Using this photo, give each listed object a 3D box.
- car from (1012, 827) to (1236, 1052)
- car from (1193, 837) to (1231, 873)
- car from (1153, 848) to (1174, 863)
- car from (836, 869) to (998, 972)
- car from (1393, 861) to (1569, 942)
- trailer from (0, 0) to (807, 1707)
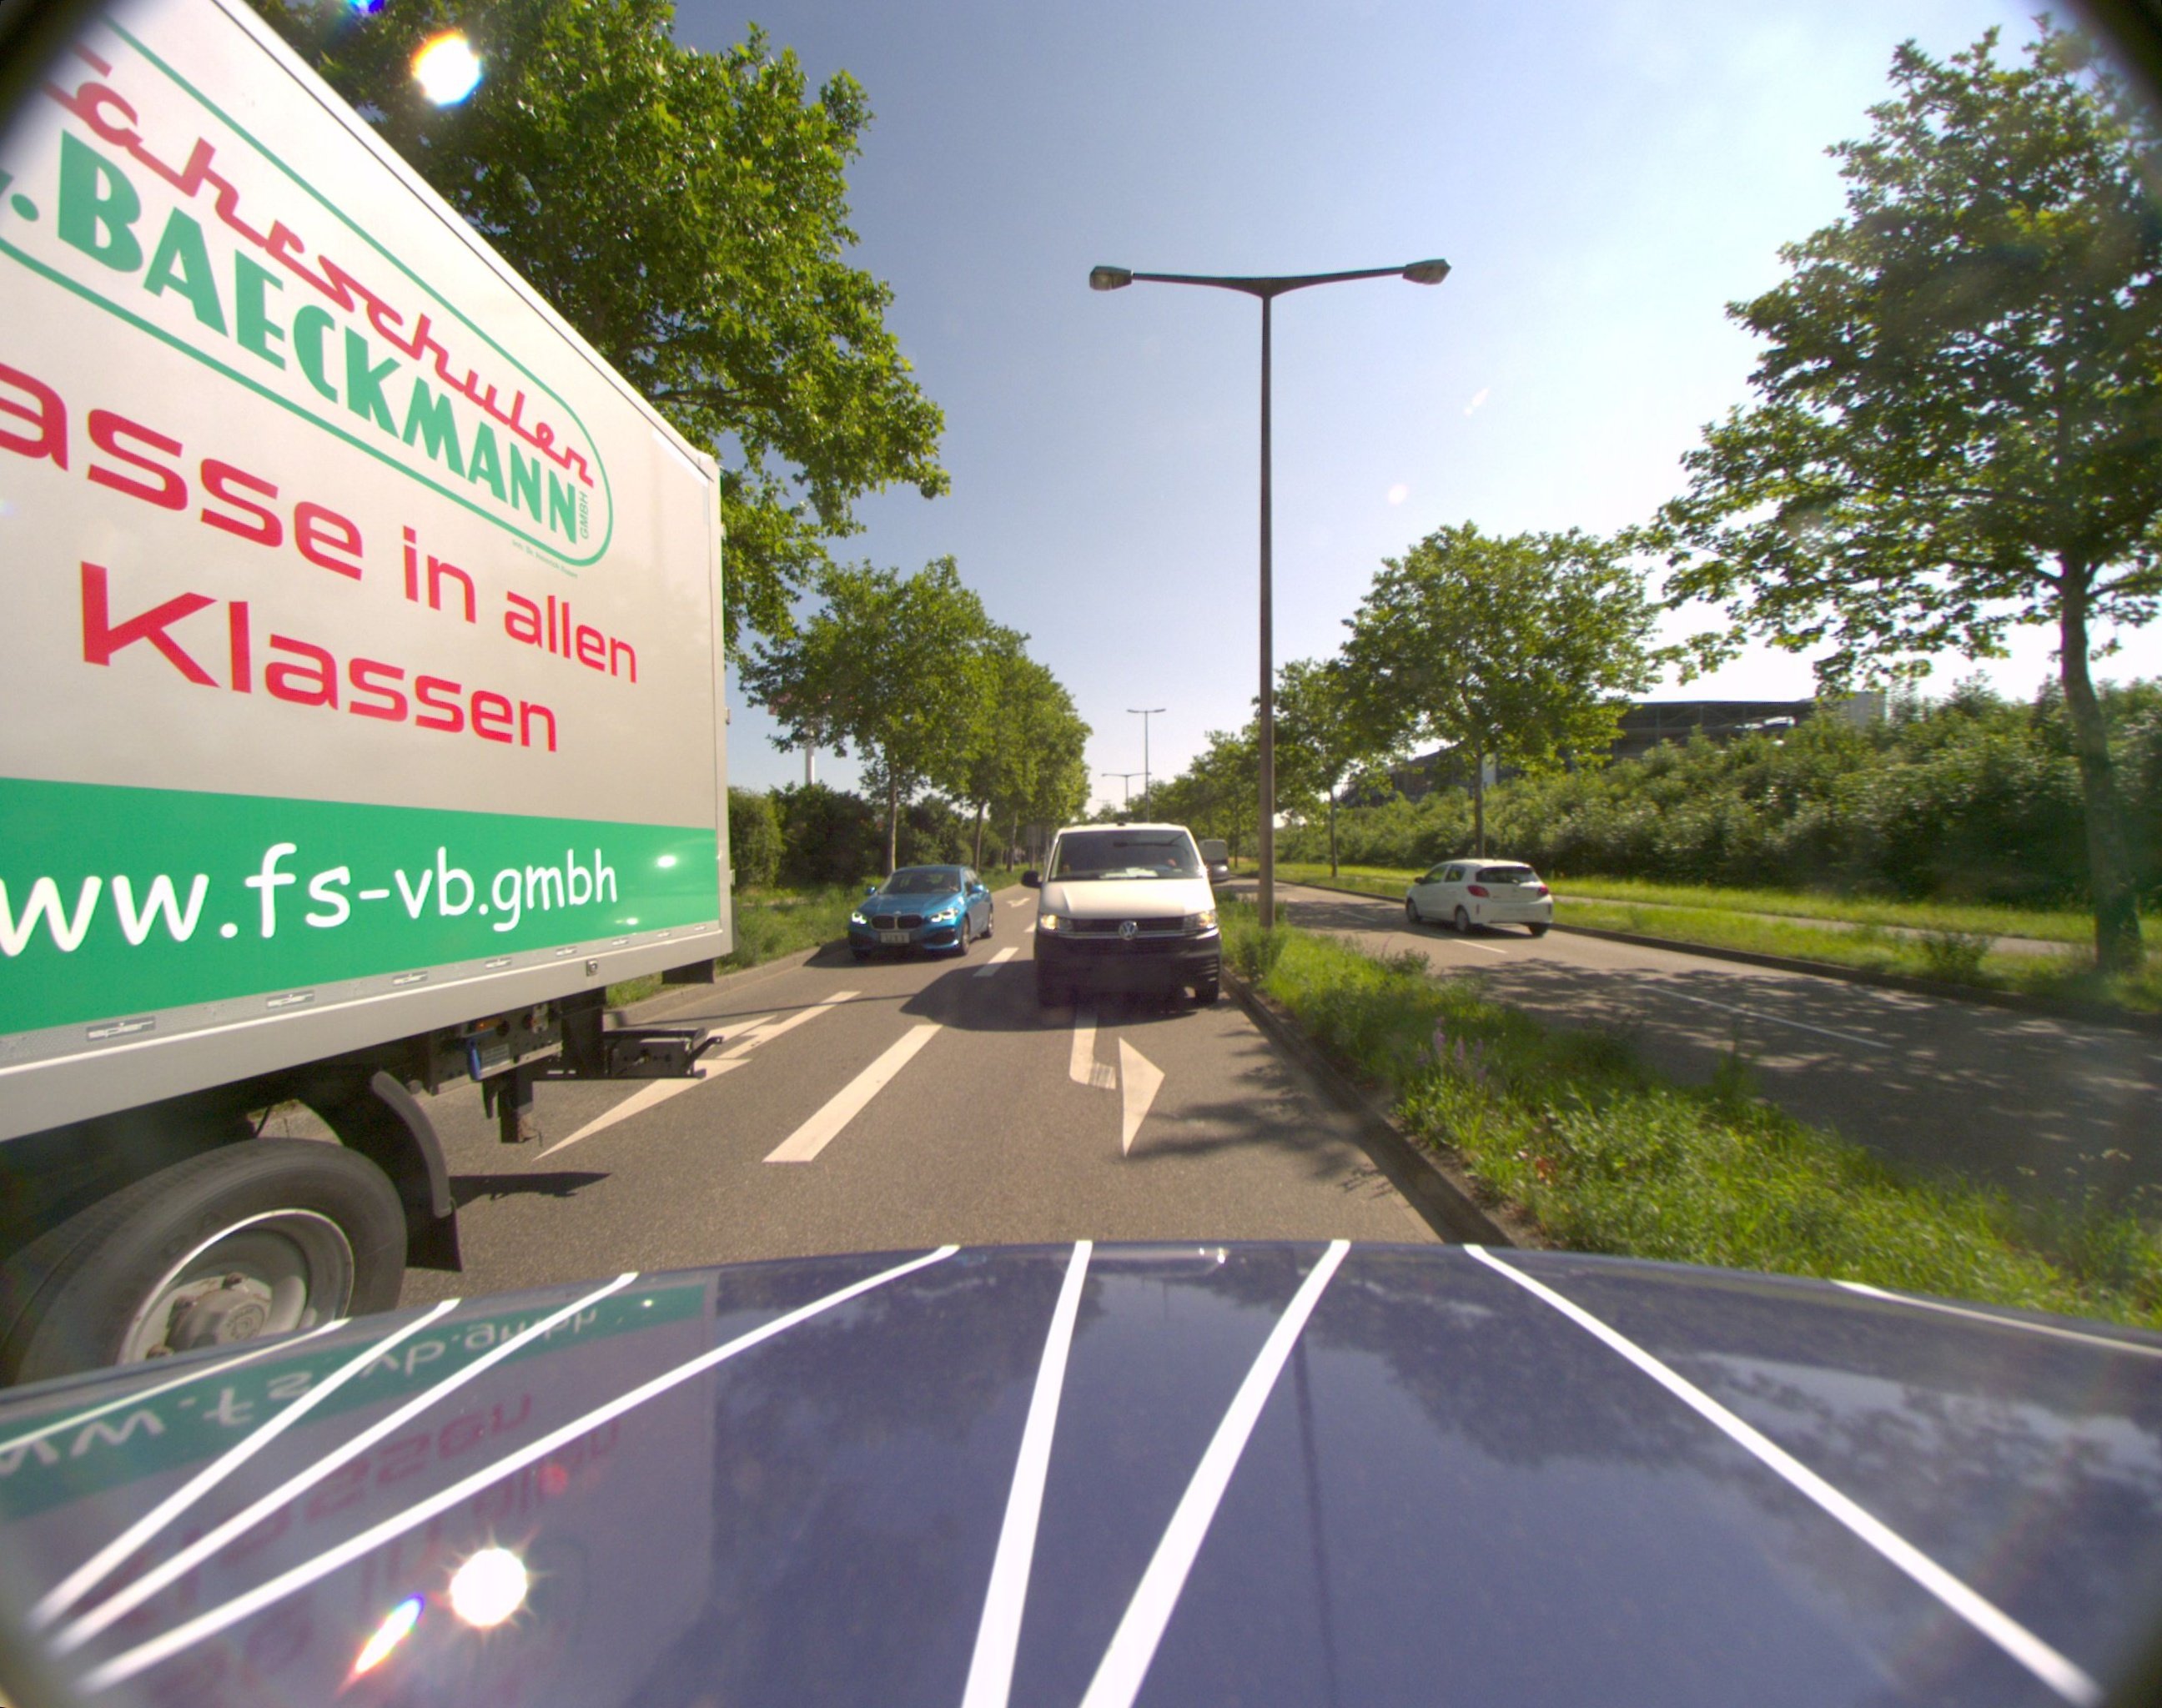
[{"bbox_3d":[0.393,0.711,8.848,1.872,1.889,4.881,0,0,1],"label":"car"},{"bbox_3d":[10.014,0.033,58.607,1.998,2.647,5.786,1,1,1],"label":"car"},{"bbox_3d":[10.805,0.201,99.483,1.999,1.887,4.572,1,0,-3],"label":"car"},{"bbox_3d":[-2.634,1.019,13.259,1.872,1.412,4.130,0,0,1],"label":"car"},{"bbox_3d":[8.321,0.920,16.263,1.704,1.499,4.000,0,0,1],"label":"car"},{"bbox_3d":[-3.138,-0.296,0.488,2.743,3.854,7.736,-1,1,3],"label":"trailer"}]
